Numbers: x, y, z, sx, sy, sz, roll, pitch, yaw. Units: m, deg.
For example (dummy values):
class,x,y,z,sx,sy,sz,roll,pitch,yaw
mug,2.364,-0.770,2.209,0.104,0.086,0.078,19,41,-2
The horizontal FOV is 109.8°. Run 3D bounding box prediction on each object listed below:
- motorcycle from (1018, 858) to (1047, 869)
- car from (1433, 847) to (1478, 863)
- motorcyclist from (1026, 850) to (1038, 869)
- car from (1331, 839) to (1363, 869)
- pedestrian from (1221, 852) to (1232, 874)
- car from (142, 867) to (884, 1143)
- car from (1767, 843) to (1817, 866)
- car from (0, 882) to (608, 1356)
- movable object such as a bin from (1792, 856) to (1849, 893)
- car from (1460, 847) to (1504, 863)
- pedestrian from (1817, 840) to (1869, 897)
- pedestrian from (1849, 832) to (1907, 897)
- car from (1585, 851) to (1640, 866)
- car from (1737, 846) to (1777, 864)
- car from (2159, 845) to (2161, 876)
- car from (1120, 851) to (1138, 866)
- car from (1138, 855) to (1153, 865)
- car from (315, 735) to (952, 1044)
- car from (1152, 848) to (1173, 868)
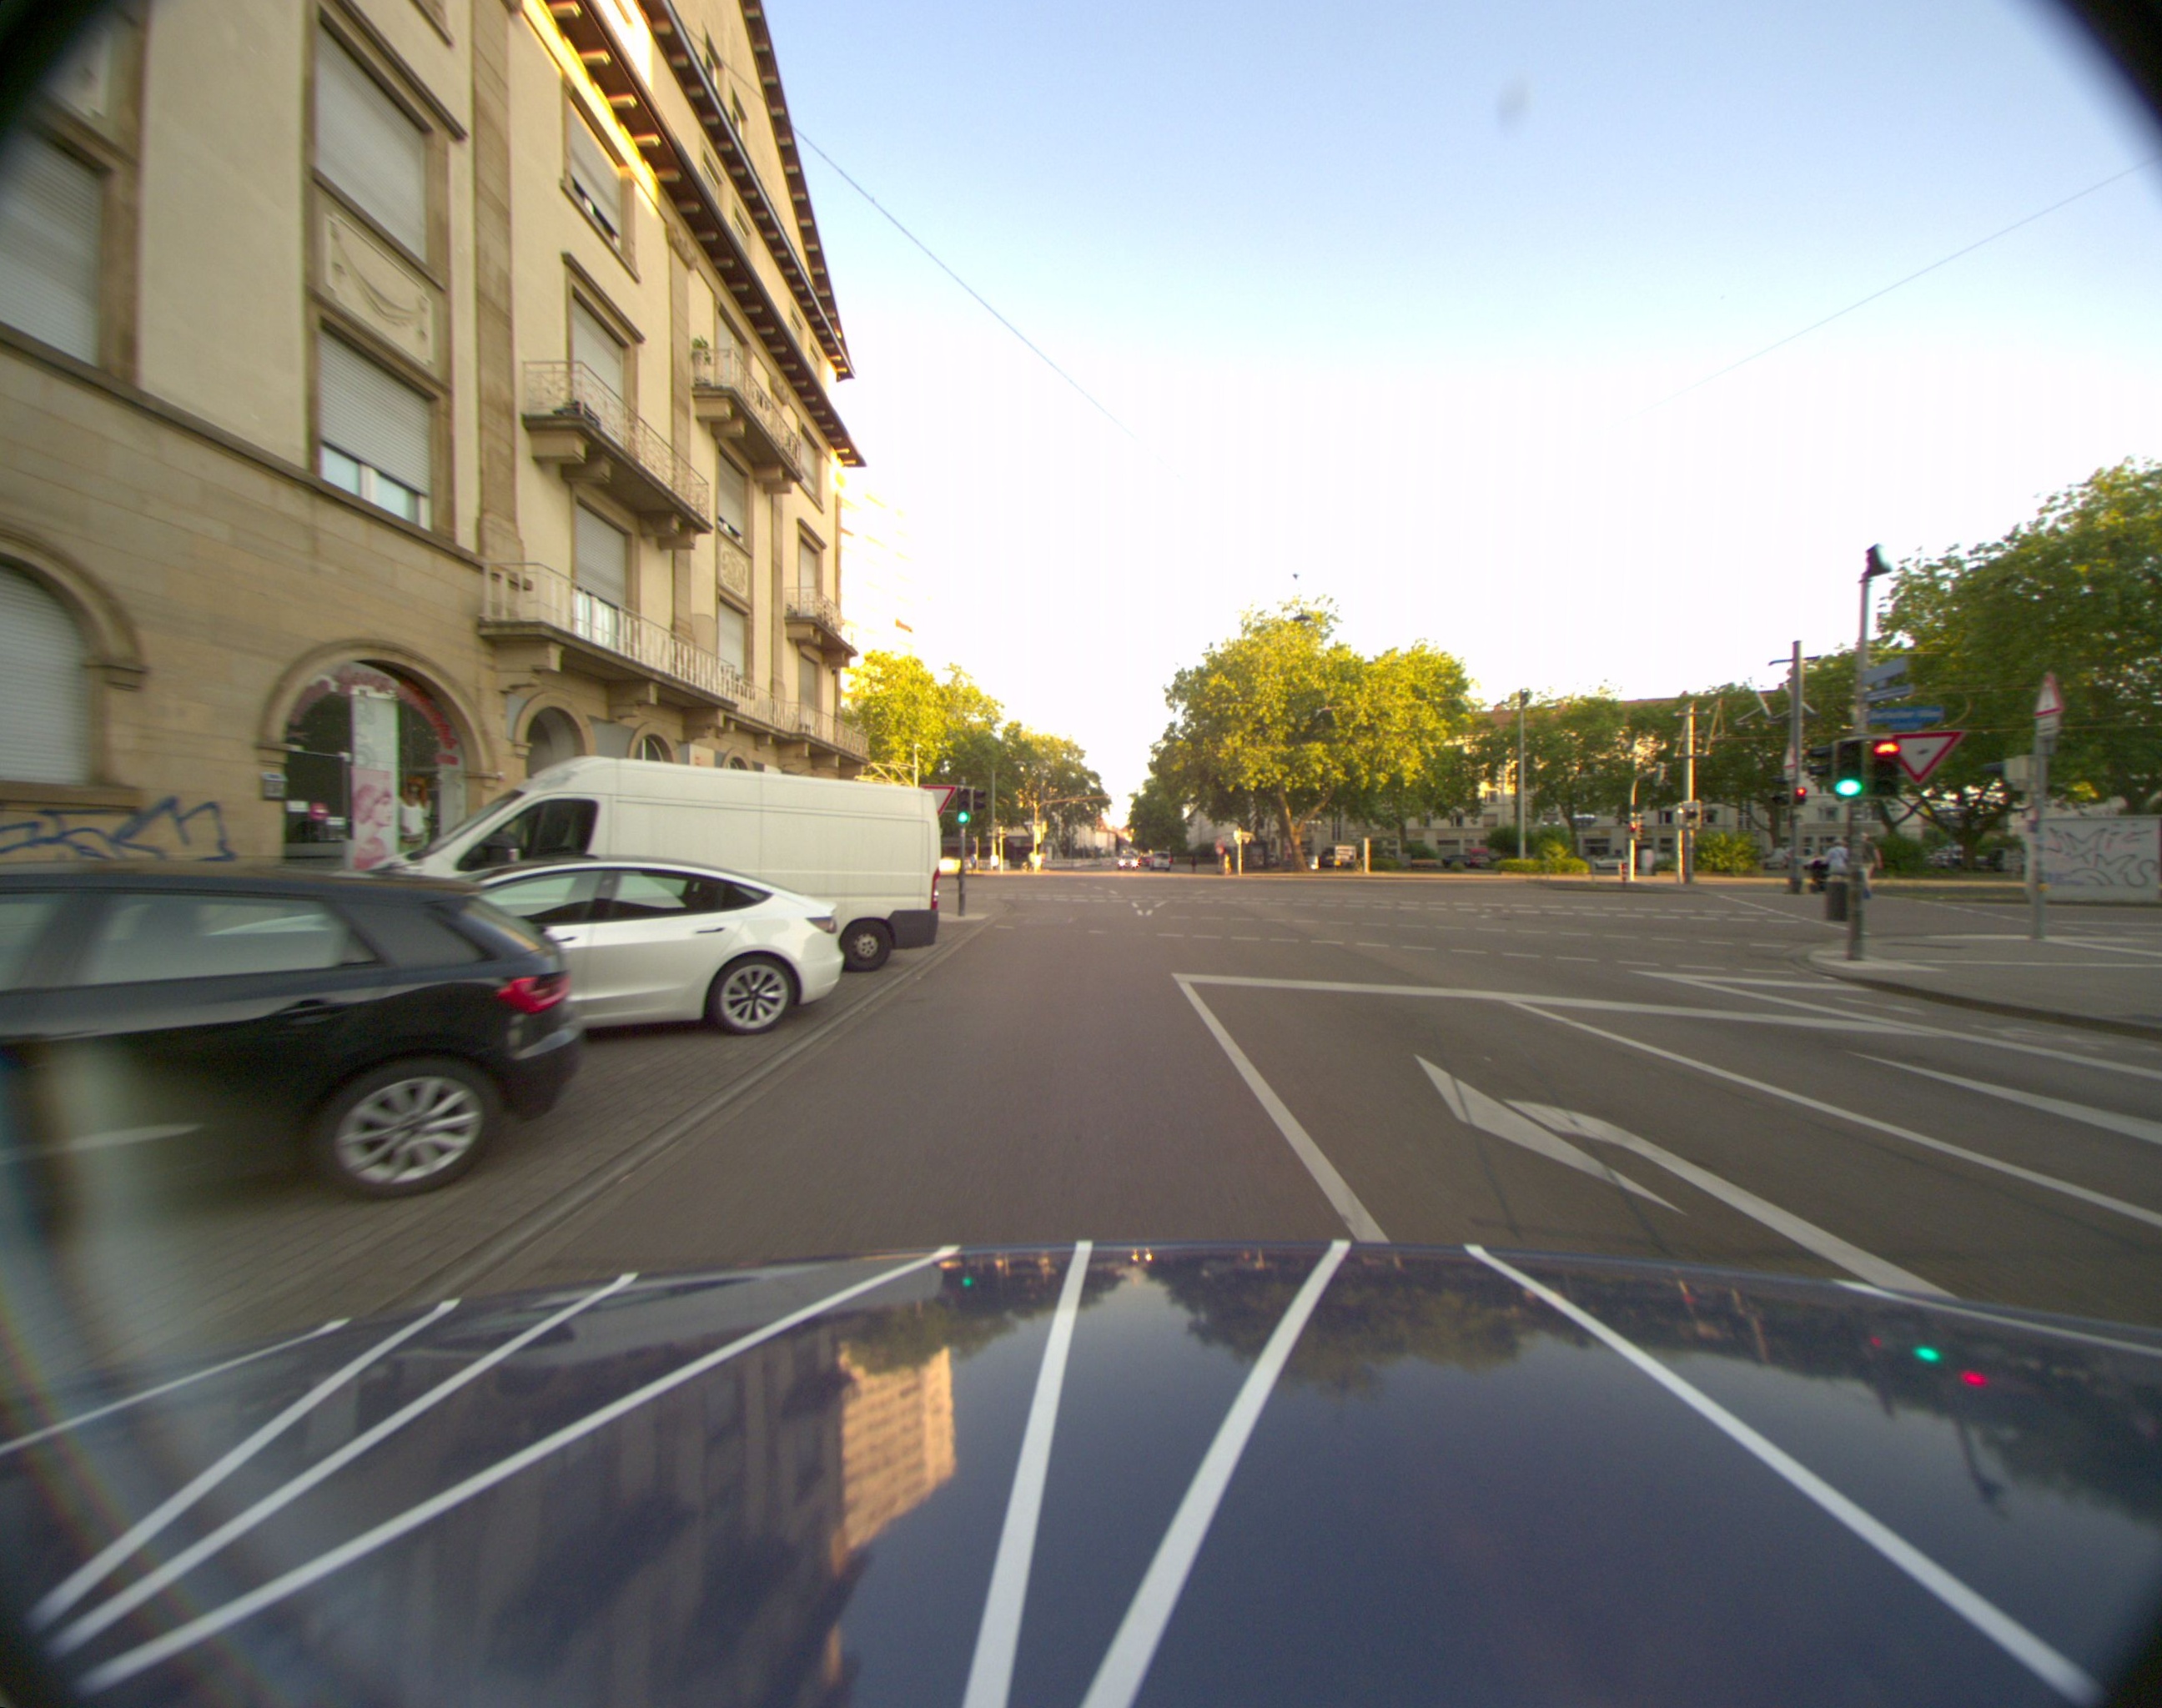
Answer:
class,x,y,z,sx,sy,sz,roll,pitch,yaw
motorcycle,-3.983,0.763,62.173,2.288,0.917,0.621,0,1,-24
car,39.098,0.112,79.410,3.988,1.696,2.004,0,1,34
motorcyclist,-4.003,0.466,62.159,0.830,1.511,0.621,-1,1,-24
car,18.383,-0.028,52.709,1.865,2.002,3.815,0,0,16
pedestrian,10.913,0.695,56.942,0.745,1.619,0.660,0,1,18
car,-4.058,0.874,6.256,4.263,1.445,1.994,1,1,-37
car,59.139,0.040,63.307,1.995,1.826,4.325,0,0,28
car,-4.354,0.906,3.074,3.925,1.438,1.869,1,2,-39
movable object such as a bin,22.667,0.610,23.316,0.860,1.113,1.139,0,0,21
car,42.850,0.096,81.250,3.988,1.696,2.004,0,1,34
pedestrian,22.277,0.421,22.243,0.718,1.624,1.009,0,1,21
pedestrian,22.924,0.295,21.874,0.709,1.836,1.161,0,1,21
car,50.762,0.424,72.602,3.991,1.410,1.812,0,1,20
car,63.928,0.084,71.886,1.995,1.729,4.007,0,1,29
car,57.148,0.325,37.527,3.989,1.603,2.004,0,0,28
car,4.989,0.459,78.427,1.840,1.549,4.001,0,0,4
car,8.963,0.813,105.349,1.997,1.450,4.002,0,0,6
car,-4.692,0.284,8.941,5.897,2.537,2.189,1,2,-40
car,8.330,0.412,77.792,1.991,1.945,4.597,0,0,4
